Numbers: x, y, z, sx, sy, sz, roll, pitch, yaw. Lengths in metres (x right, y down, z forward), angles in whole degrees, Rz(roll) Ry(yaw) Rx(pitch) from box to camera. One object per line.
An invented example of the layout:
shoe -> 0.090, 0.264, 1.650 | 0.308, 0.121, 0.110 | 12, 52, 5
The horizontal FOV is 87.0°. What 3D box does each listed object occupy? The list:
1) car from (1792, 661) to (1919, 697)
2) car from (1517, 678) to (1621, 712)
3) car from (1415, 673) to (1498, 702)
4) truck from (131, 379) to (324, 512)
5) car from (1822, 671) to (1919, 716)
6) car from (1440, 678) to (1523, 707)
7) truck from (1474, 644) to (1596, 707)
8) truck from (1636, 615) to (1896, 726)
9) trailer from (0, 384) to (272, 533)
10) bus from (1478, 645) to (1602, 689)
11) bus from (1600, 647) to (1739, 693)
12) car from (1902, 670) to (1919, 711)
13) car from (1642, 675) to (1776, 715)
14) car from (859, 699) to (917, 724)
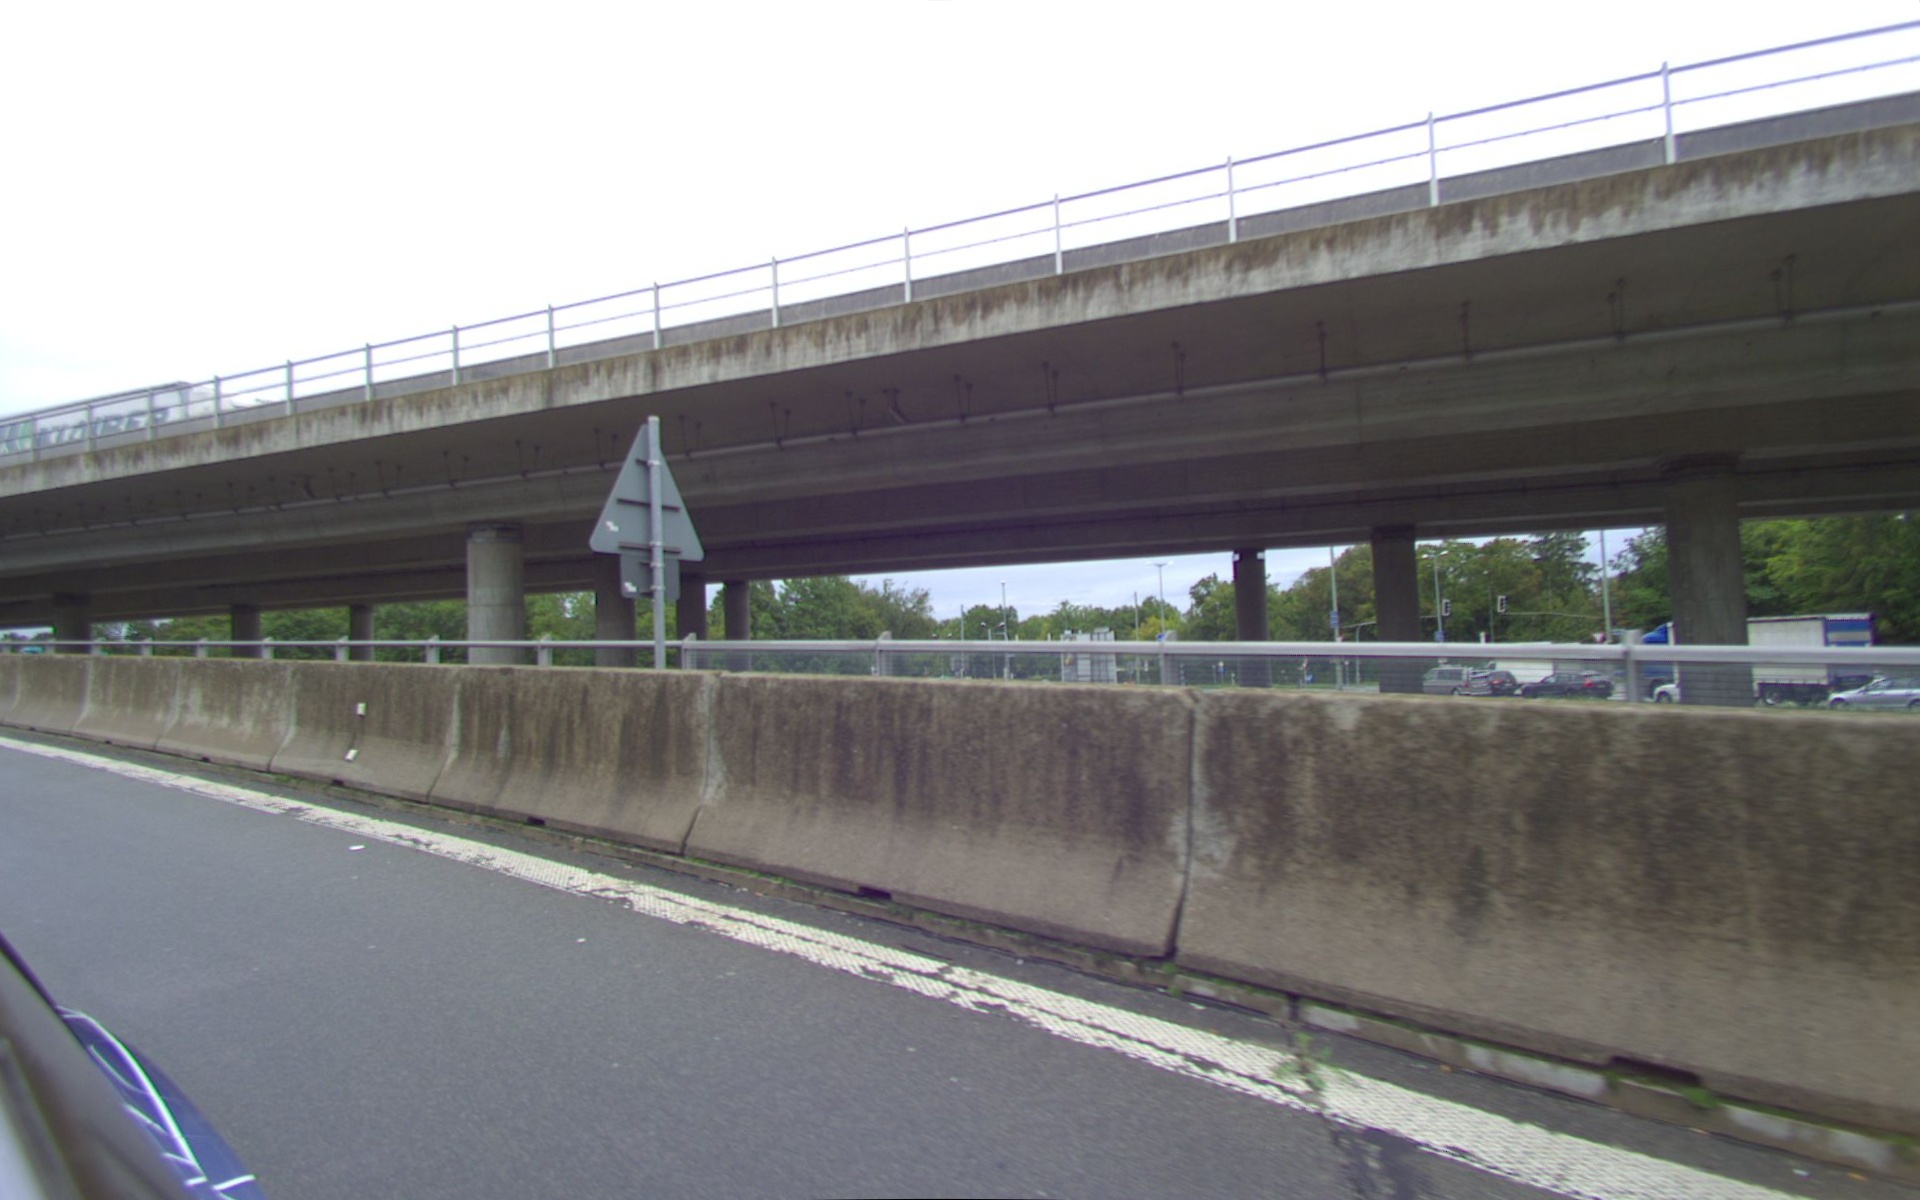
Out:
car -> 42.680, 3.695, 48.042 | 1.942, 1.595, 4.602 | 1, -3, -13
car -> 32.057, 4.964, 53.447 | 1.942, 1.595, 4.604 | 1, -3, -15
car -> 30.108, 5.279, 61.522 | 1.942, 1.618, 4.604 | 1, -3, -16
truck -> -23.449, -4.822, 32.444 | 5.156, 3.270, 2.579 | -4, -2, 21
car -> 36.004, 3.545, 38.457 | 1.942, 1.595, 4.604 | 1, -3, -16
car -> 32.564, 5.747, 63.395 | 1.942, 1.618, 4.604 | 1, -3, -16
truck -> 36.016, 4.687, 63.733 | 2.752, 3.708, 6.660 | 1, -3, -14
truck -> 36.928, 3.192, 47.067 | 2.752, 4.627, 9.626 | 1, -3, -14
trailer -> -29.887, -4.607, 34.918 | 13.958, 3.323, 2.648 | -3, -2, 21
bus -> 54.223, 6.186, 94.831 | 9.900, 3.729, 2.202 | -1, -2, 39
bus -> 62.108, 6.068, 88.914 | 9.885, 3.729, 2.206 | -1, -2, 34
car -> 39.042, 3.498, 38.270 | 1.942, 1.595, 4.602 | 1, -3, -13
car -> 34.051, 4.284, 46.195 | 1.942, 1.595, 4.604 | 1, -3, -16
car -> -5.848, 9.049, 82.132 | 4.322, 1.763, 1.802 | -3, -1, 13
